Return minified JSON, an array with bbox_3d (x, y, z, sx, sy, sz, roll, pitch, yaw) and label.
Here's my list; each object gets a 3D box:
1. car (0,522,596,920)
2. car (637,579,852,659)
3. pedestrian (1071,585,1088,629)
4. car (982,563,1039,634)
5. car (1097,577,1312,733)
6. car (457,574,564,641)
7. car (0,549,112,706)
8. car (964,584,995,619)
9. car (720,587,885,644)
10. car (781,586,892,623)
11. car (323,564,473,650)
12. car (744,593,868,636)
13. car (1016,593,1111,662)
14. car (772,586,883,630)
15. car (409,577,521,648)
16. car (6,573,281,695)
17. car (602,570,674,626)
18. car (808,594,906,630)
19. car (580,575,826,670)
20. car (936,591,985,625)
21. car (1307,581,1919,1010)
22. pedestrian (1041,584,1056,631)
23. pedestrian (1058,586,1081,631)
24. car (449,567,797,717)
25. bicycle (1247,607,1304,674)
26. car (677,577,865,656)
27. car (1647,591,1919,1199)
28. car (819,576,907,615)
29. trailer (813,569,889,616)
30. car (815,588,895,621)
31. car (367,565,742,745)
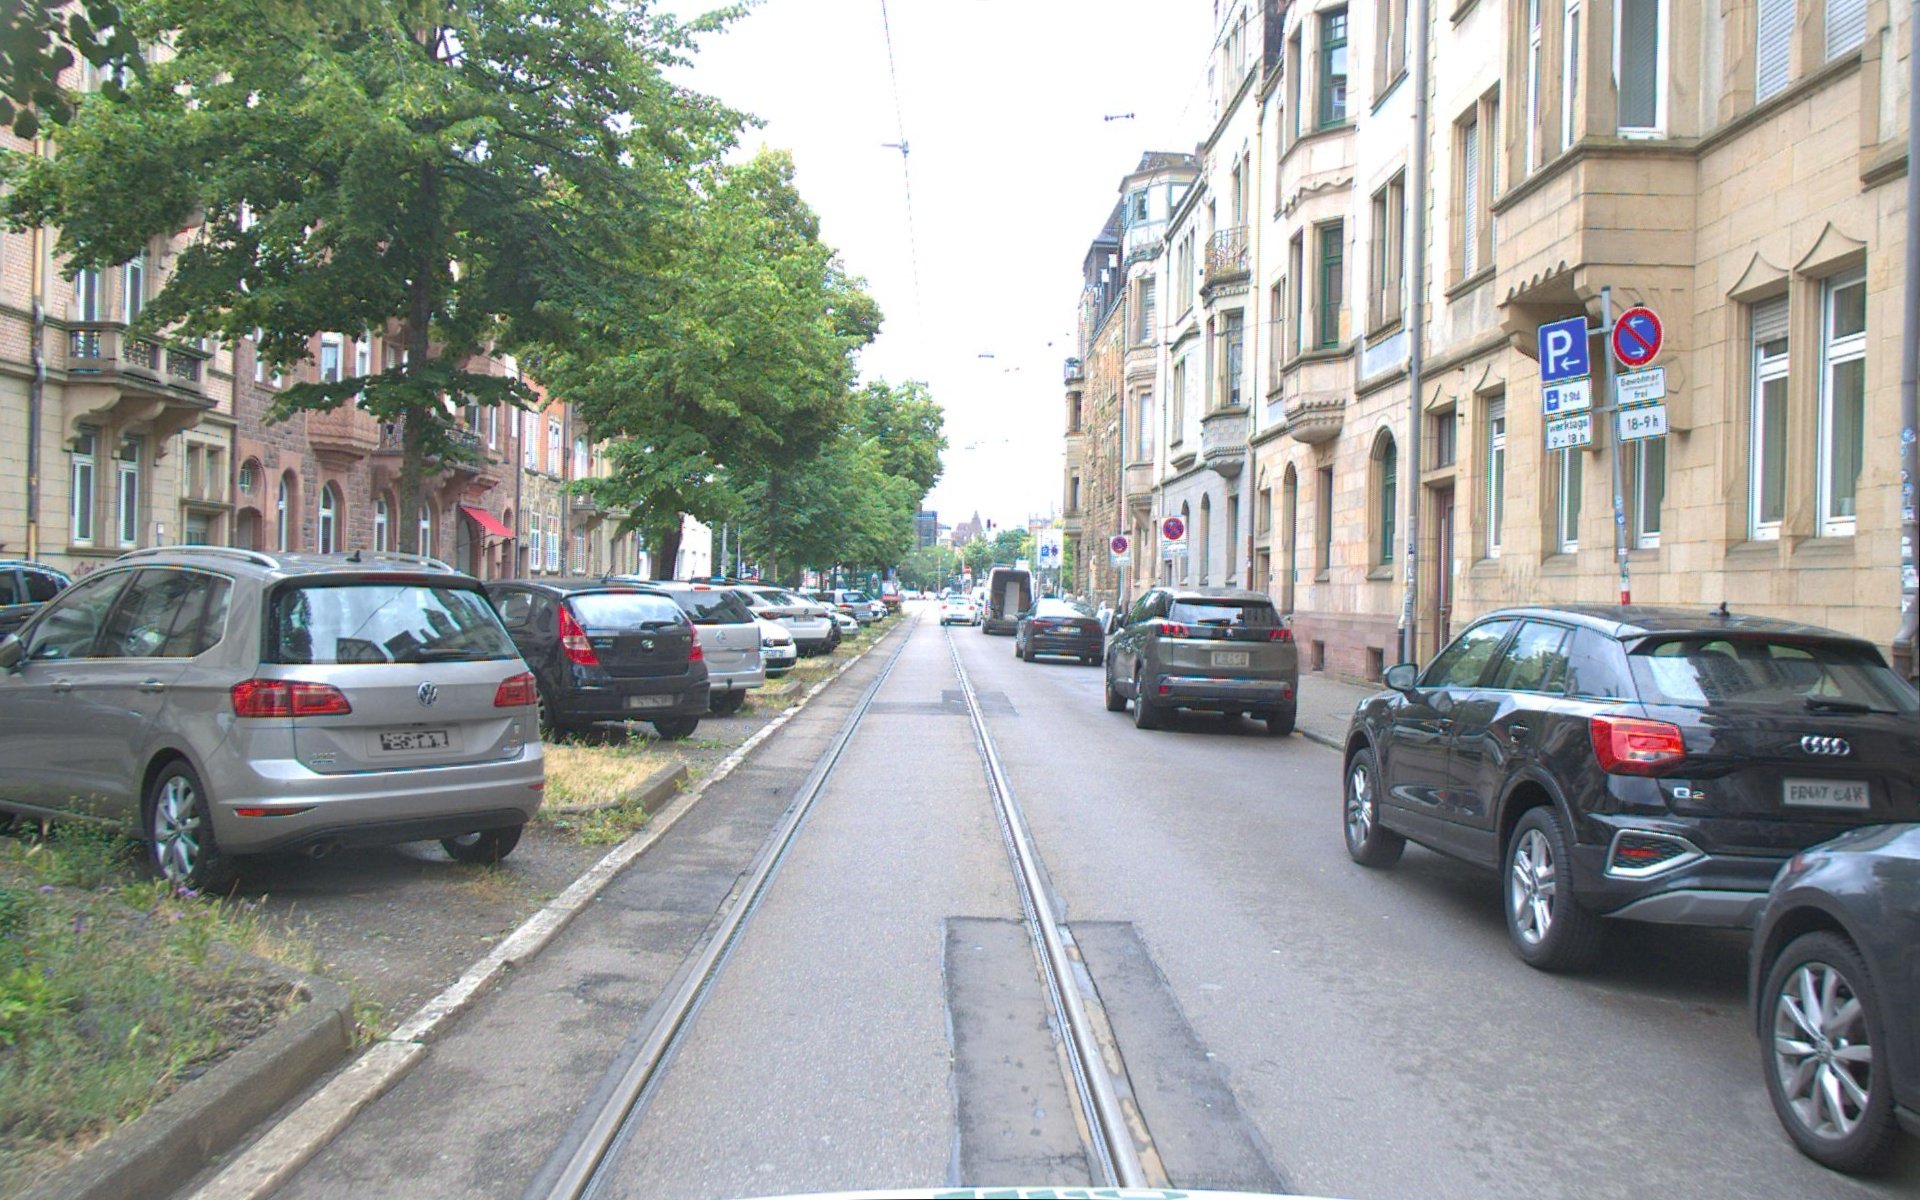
[{"bbox_3d":[-3.916,0.506,8.806,4.130,1.637,1.716,0,-1,41],"label":"car"},{"bbox_3d":[-4.485,0.361,34.055,4.463,1.516,2.022,1,0,43],"label":"car"},{"bbox_3d":[4.731,0.277,65.555,0.499,1.747,0.579,-1,0,-11],"label":"pedestrian"},{"bbox_3d":[1.985,-0.070,66.584,1.972,2.593,7.016,3,0,0],"label":"car"},{"bbox_3d":[2.847,0.579,20.292,1.724,1.650,4.692,1,0,-3],"label":"car"},{"bbox_3d":[-12.009,0.197,44.490,1.705,1.655,4.552,1,0,-2],"label":"car"},{"bbox_3d":[-11.335,0.282,18.286,1.768,1.709,4.272,1,0,-2],"label":"car"},{"bbox_3d":[1.155,0.094,98.125,1.746,1.997,4.382,1,0,1],"label":"car"},{"bbox_3d":[-4.254,0.392,44.247,4.585,1.392,1.747,2,0,42],"label":"car"},{"bbox_3d":[-5.192,0.175,69.338,4.599,1.460,1.890,1,0,39],"label":"car"},{"bbox_3d":[-11.699,0.137,34.712,1.733,1.657,4.319,1,0,-2],"label":"car"},{"bbox_3d":[-4.810,0.438,51.355,3.894,1.223,1.657,2,0,43],"label":"car"},{"bbox_3d":[2.387,0.608,39.280,1.764,1.463,5.194,1,0,-1],"label":"car"},{"bbox_3d":[-4.967,0.285,61.693,4.042,1.510,1.788,2,0,40],"label":"car"},{"bbox_3d":[-11.807,0.285,39.667,1.628,1.587,3.721,1,0,-2],"label":"car"},{"bbox_3d":[-11.320,0.441,23.304,1.768,1.516,4.386,1,0,-2],"label":"car"},{"bbox_3d":[-12.151,-0.080,62.717,1.843,1.986,5.092,1,0,-2],"label":"car"},{"bbox_3d":[-4.585,0.519,73.394,4.262,1.460,1.888,1,0,42],"label":"car"},{"bbox_3d":[-4.207,0.331,26.741,4.060,1.335,1.851,2,0,44],"label":"car"},{"bbox_3d":[0.057,0.362,78.639,1.744,1.498,4.013,1,0,8],"label":"car"},{"bbox_3d":[3.203,0.735,8.444,1.664,1.539,4.417,4,0,-3],"label":"car"},{"bbox_3d":[3.501,0.289,65.428,0.488,1.847,0.803,-1,0,0],"label":"pedestrian"},{"bbox_3d":[4.277,0.317,64.700,0.695,1.729,0.488,-1,0,-29],"label":"pedestrian"},{"bbox_3d":[-4.070,0.428,19.478,1.850,1.519,4.490,2,0,-45],"label":"car"},{"bbox_3d":[5.901,0.738,31.007,0.599,1.146,1.915,4,0,-2],"label":"bicycle"},{"bbox_3d":[-4.297,0.341,37.187,4.454,1.662,1.754,1,0,43],"label":"car"},{"bbox_3d":[3.268,0.817,3.418,1.664,1.539,4.390,4,0,-2],"label":"car"},{"bbox_3d":[-5.339,-0.259,90.397,4.675,2.009,1.951,1,0,38],"label":"car"},{"bbox_3d":[-5.780,-0.399,87.573,3.593,2.385,1.926,1,0,32],"label":"trailer"},{"bbox_3d":[-5.056,0.198,79.628,3.794,1.488,1.680,1,0,42],"label":"car"},{"bbox_3d":[-4.060,0.455,16.216,3.933,1.511,1.764,2,0,44],"label":"car"}]
